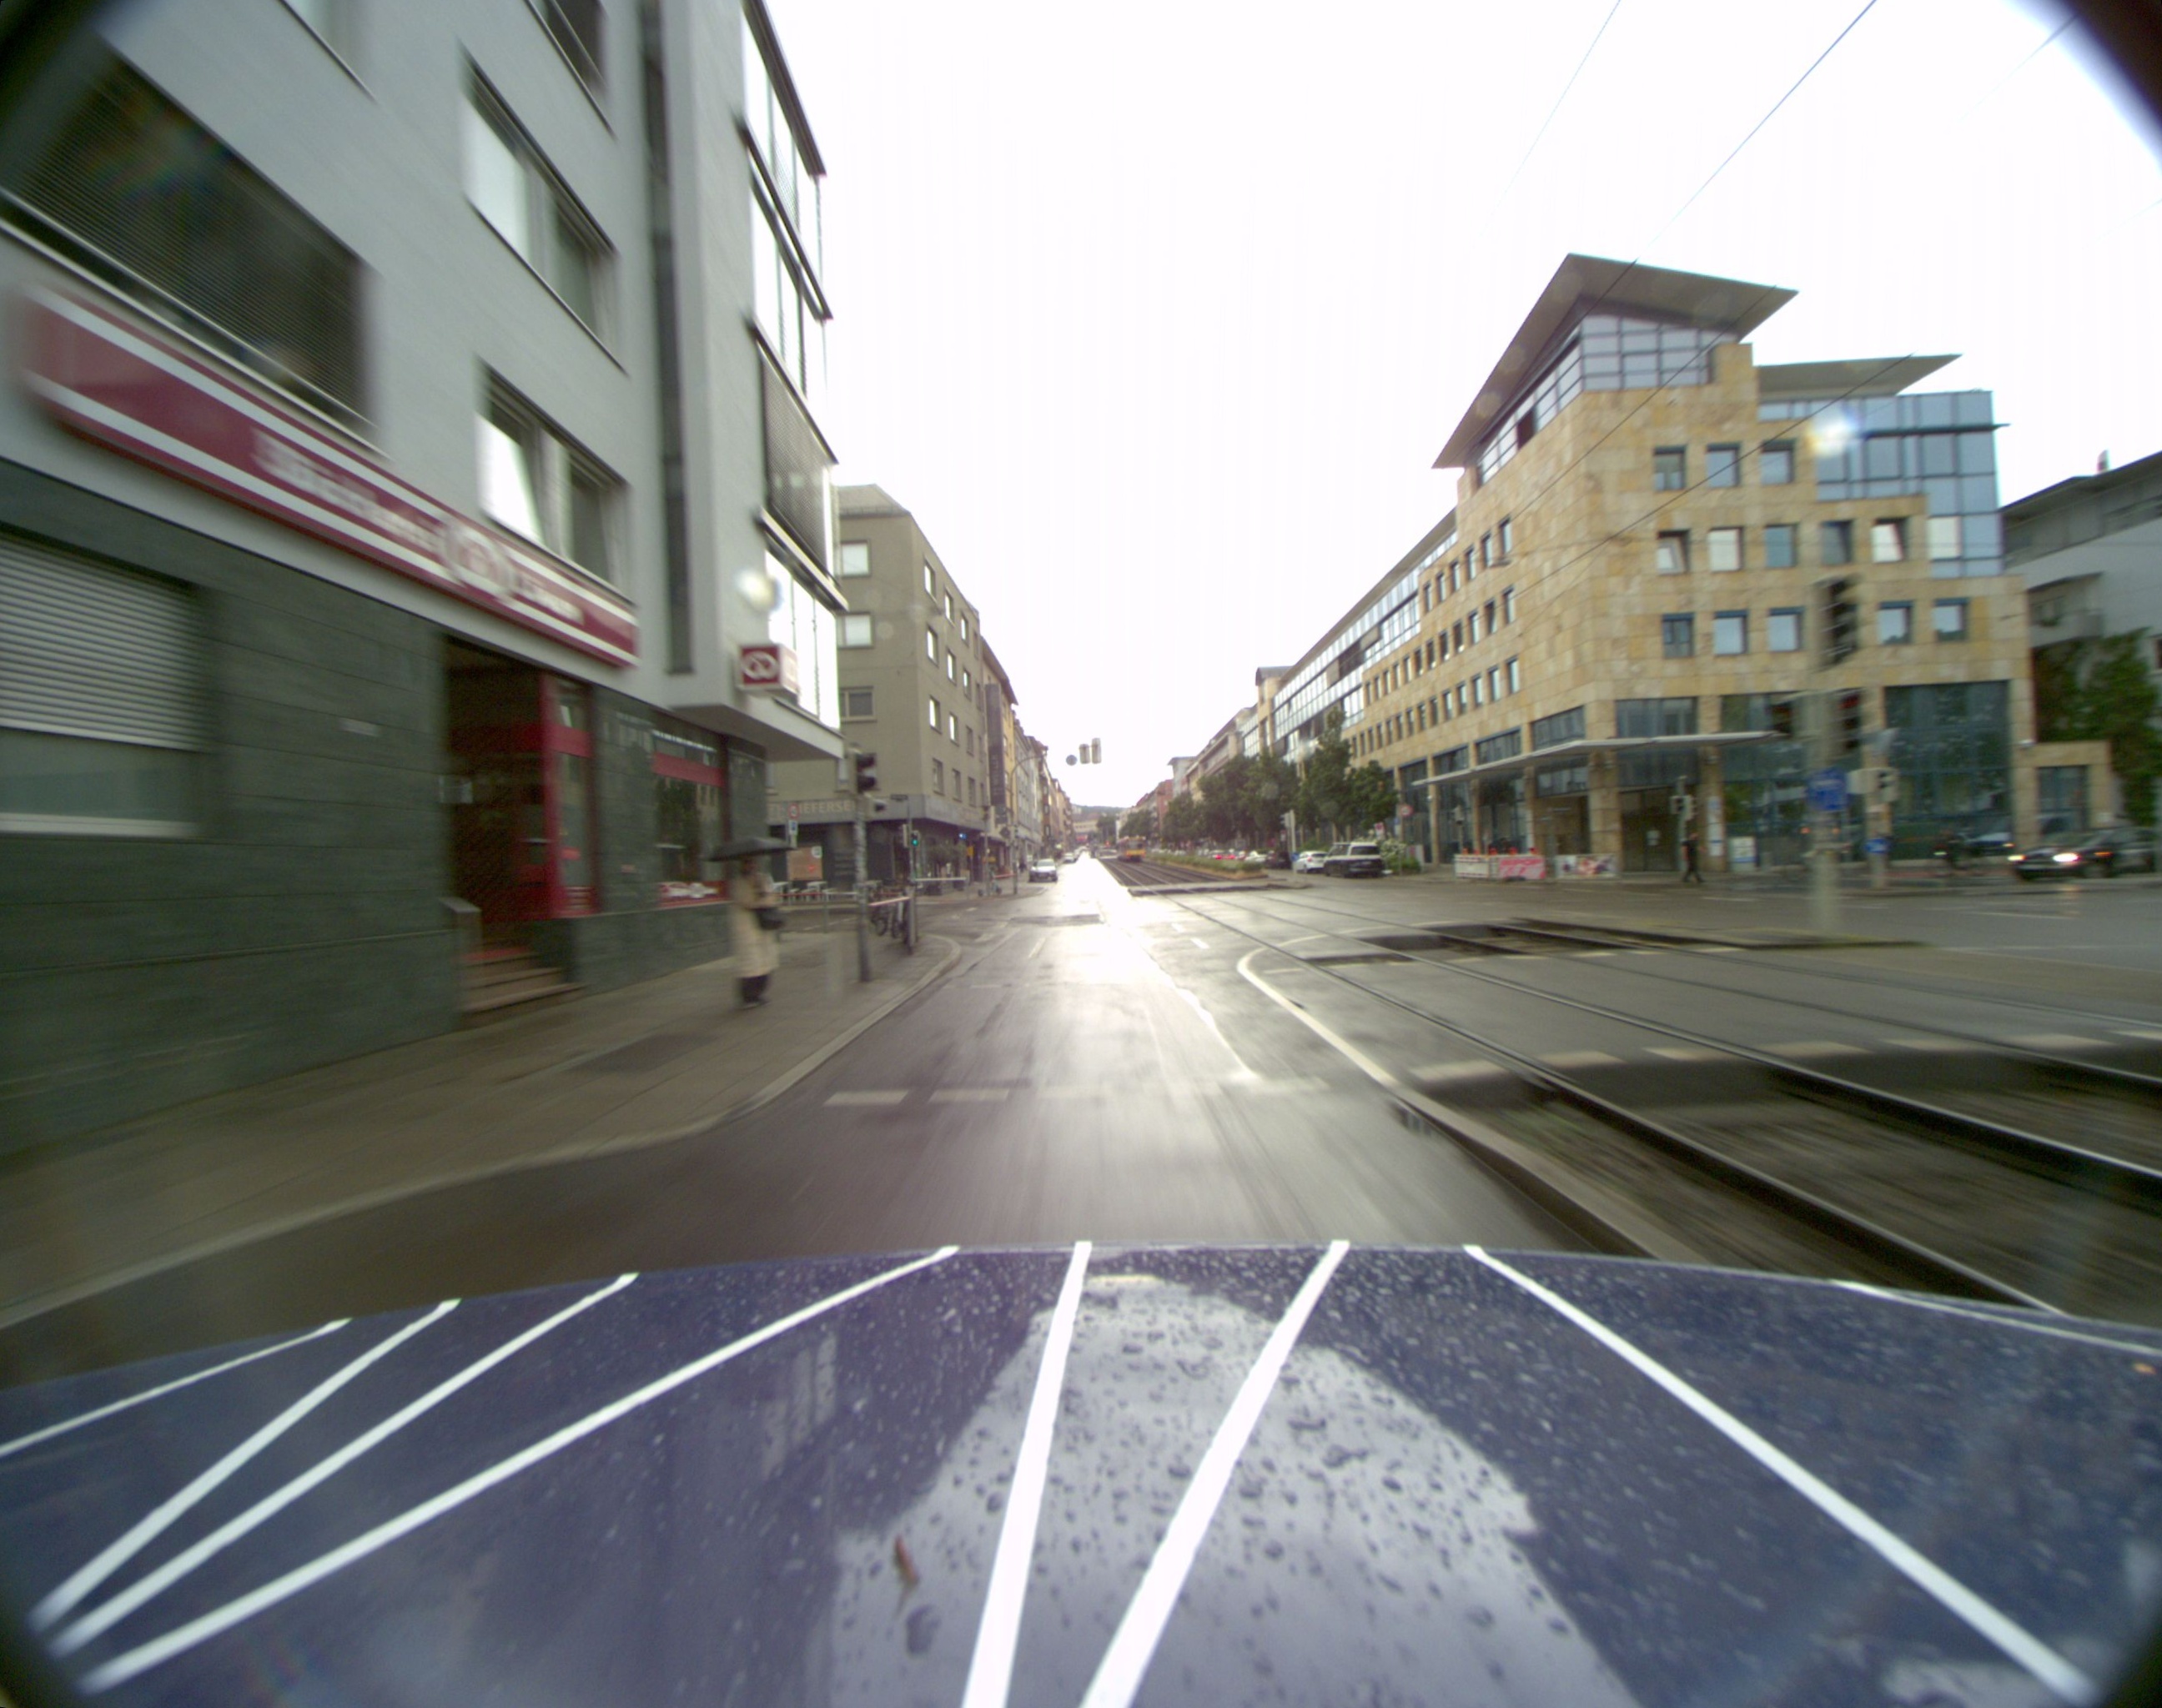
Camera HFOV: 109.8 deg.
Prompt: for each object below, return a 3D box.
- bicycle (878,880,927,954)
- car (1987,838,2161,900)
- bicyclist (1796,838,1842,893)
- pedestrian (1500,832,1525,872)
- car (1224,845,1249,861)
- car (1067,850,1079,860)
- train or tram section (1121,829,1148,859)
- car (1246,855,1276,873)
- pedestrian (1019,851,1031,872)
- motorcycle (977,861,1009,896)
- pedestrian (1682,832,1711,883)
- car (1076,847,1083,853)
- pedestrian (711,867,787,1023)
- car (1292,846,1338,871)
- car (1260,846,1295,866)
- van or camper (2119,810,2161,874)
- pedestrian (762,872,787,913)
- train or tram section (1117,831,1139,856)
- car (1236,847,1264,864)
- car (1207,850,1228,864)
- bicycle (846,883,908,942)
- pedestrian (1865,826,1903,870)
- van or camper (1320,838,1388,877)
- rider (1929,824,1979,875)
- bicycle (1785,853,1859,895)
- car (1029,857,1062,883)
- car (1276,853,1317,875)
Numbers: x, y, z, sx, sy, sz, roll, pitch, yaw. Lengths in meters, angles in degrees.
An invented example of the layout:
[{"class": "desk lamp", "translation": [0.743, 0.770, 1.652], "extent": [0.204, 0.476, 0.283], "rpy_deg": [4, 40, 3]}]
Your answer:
[{"class": "bicycle", "translation": [-3.411, 1.152, 14.411], "extent": [0.499, 1.251, 1.953], "rpy_deg": [-3, 0, -24]}, {"class": "car", "translation": [28.763, 0.405, 21.520], "extent": [3.997, 1.521, 1.891], "rpy_deg": [-3, 0, -2]}, {"class": "bicyclist", "translation": [24.763, 0.387, 25.501], "extent": [0.710, 1.794, 0.784], "rpy_deg": [-3, 0, 1]}, {"class": "pedestrian", "translation": [19.872, -0.085, 35.036], "extent": [0.703, 1.804, 0.679], "rpy_deg": [-3, 0, 3]}, {"class": "car", "translation": [15.764, -0.096, 77.240], "extent": [1.653, 1.592, 4.292], "rpy_deg": [-2, 0, 1]}, {"class": "car", "translation": [-1.282, 0.140, 119.947], "extent": [1.653, 1.489, 4.067], "rpy_deg": [-2, 0, 1]}, {"class": "train or tram section", "translation": [7.944, -1.514, 115.906], "extent": [2.909, 4.027, 18.765], "rpy_deg": [-2, 1, 1]}, {"class": "car", "translation": [15.583, 0.852, 65.957], "extent": [1.653, 1.489, 4.192], "rpy_deg": [-2, 0, 1]}, {"class": "pedestrian", "translation": [-4.563, 0.602, 61.883], "extent": [0.793, 1.649, 0.721], "rpy_deg": [-4, 1, 0]}, {"class": "motorcycle", "translation": [-3.812, 1.064, 33.074], "extent": [1.134, 1.453, 0.682], "rpy_deg": [-2, 1, -35]}, {"class": "pedestrian", "translation": [21.641, 0.121, 26.726], "extent": [0.677, 1.770, 0.705], "rpy_deg": [-3, 0, 36]}, {"class": "car", "translation": [-0.407, -1.162, 207.044], "extent": [1.653, 1.584, 4.067], "rpy_deg": [-2, 0, 1]}, {"class": "pedestrian", "translation": [-3.596, 0.947, 8.276], "extent": [0.662, 1.573, 0.778], "rpy_deg": [-2, 1, -21]}, {"class": "car", "translation": [15.489, 0.299, 50.502], "extent": [1.693, 1.477, 4.255], "rpy_deg": [-3, -1, -1]}, {"class": "car", "translation": [15.703, 0.161, 61.023], "extent": [1.693, 1.477, 4.000], "rpy_deg": [-3, -1, -1]}, {"class": "van or camper", "translation": [37.041, -0.504, 24.179], "extent": [5.095, 2.050, 2.097], "rpy_deg": [-3, 0, 0]}, {"class": "pedestrian", "translation": [-12.574, 1.584, 31.155], "extent": [0.549, 1.601, 0.861], "rpy_deg": [-2, 2, 4]}, {"class": "train or tram section", "translation": [8.208, -1.781, 134.549], "extent": [2.909, 4.027, 18.409], "rpy_deg": [-2, 1, 1]}, {"class": "car", "translation": [15.802, 0.093, 71.281], "extent": [1.653, 1.489, 4.292], "rpy_deg": [-2, 0, 1]}, {"class": "car", "translation": [16.024, 0.314, 89.274], "extent": [1.653, 1.532, 4.621], "rpy_deg": [-2, 0, 1]}, {"class": "bicycle", "translation": [-4.426, 1.219, 16.367], "extent": [0.579, 1.150, 1.952], "rpy_deg": [-3, 0, -36]}, {"class": "pedestrian", "translation": [30.167, -0.214, 28.557], "extent": [0.580, 1.626, 0.703], "rpy_deg": [-3, 0, 1]}, {"class": "van or camper", "translation": [15.320, 0.140, 42.988], "extent": [2.022, 1.986, 5.197], "rpy_deg": [-3, 1, 1]}, {"class": "rider", "translation": [29.480, -0.156, 25.664], "extent": [0.710, 1.666, 0.784], "rpy_deg": [-3, 0, 1]}, {"class": "bicycle", "translation": [24.839, 0.658, 25.485], "extent": [1.768, 1.303, 0.660], "rpy_deg": [-3, 0, 0]}, {"class": "car", "translation": [-2.413, 1.076, 52.262], "extent": [2.029, 1.584, 4.620], "rpy_deg": [-2, 0, 0]}, {"class": "car", "translation": [15.902, 0.755, 56.347], "extent": [1.693, 1.477, 4.295], "rpy_deg": [-3, -1, -1]}]
